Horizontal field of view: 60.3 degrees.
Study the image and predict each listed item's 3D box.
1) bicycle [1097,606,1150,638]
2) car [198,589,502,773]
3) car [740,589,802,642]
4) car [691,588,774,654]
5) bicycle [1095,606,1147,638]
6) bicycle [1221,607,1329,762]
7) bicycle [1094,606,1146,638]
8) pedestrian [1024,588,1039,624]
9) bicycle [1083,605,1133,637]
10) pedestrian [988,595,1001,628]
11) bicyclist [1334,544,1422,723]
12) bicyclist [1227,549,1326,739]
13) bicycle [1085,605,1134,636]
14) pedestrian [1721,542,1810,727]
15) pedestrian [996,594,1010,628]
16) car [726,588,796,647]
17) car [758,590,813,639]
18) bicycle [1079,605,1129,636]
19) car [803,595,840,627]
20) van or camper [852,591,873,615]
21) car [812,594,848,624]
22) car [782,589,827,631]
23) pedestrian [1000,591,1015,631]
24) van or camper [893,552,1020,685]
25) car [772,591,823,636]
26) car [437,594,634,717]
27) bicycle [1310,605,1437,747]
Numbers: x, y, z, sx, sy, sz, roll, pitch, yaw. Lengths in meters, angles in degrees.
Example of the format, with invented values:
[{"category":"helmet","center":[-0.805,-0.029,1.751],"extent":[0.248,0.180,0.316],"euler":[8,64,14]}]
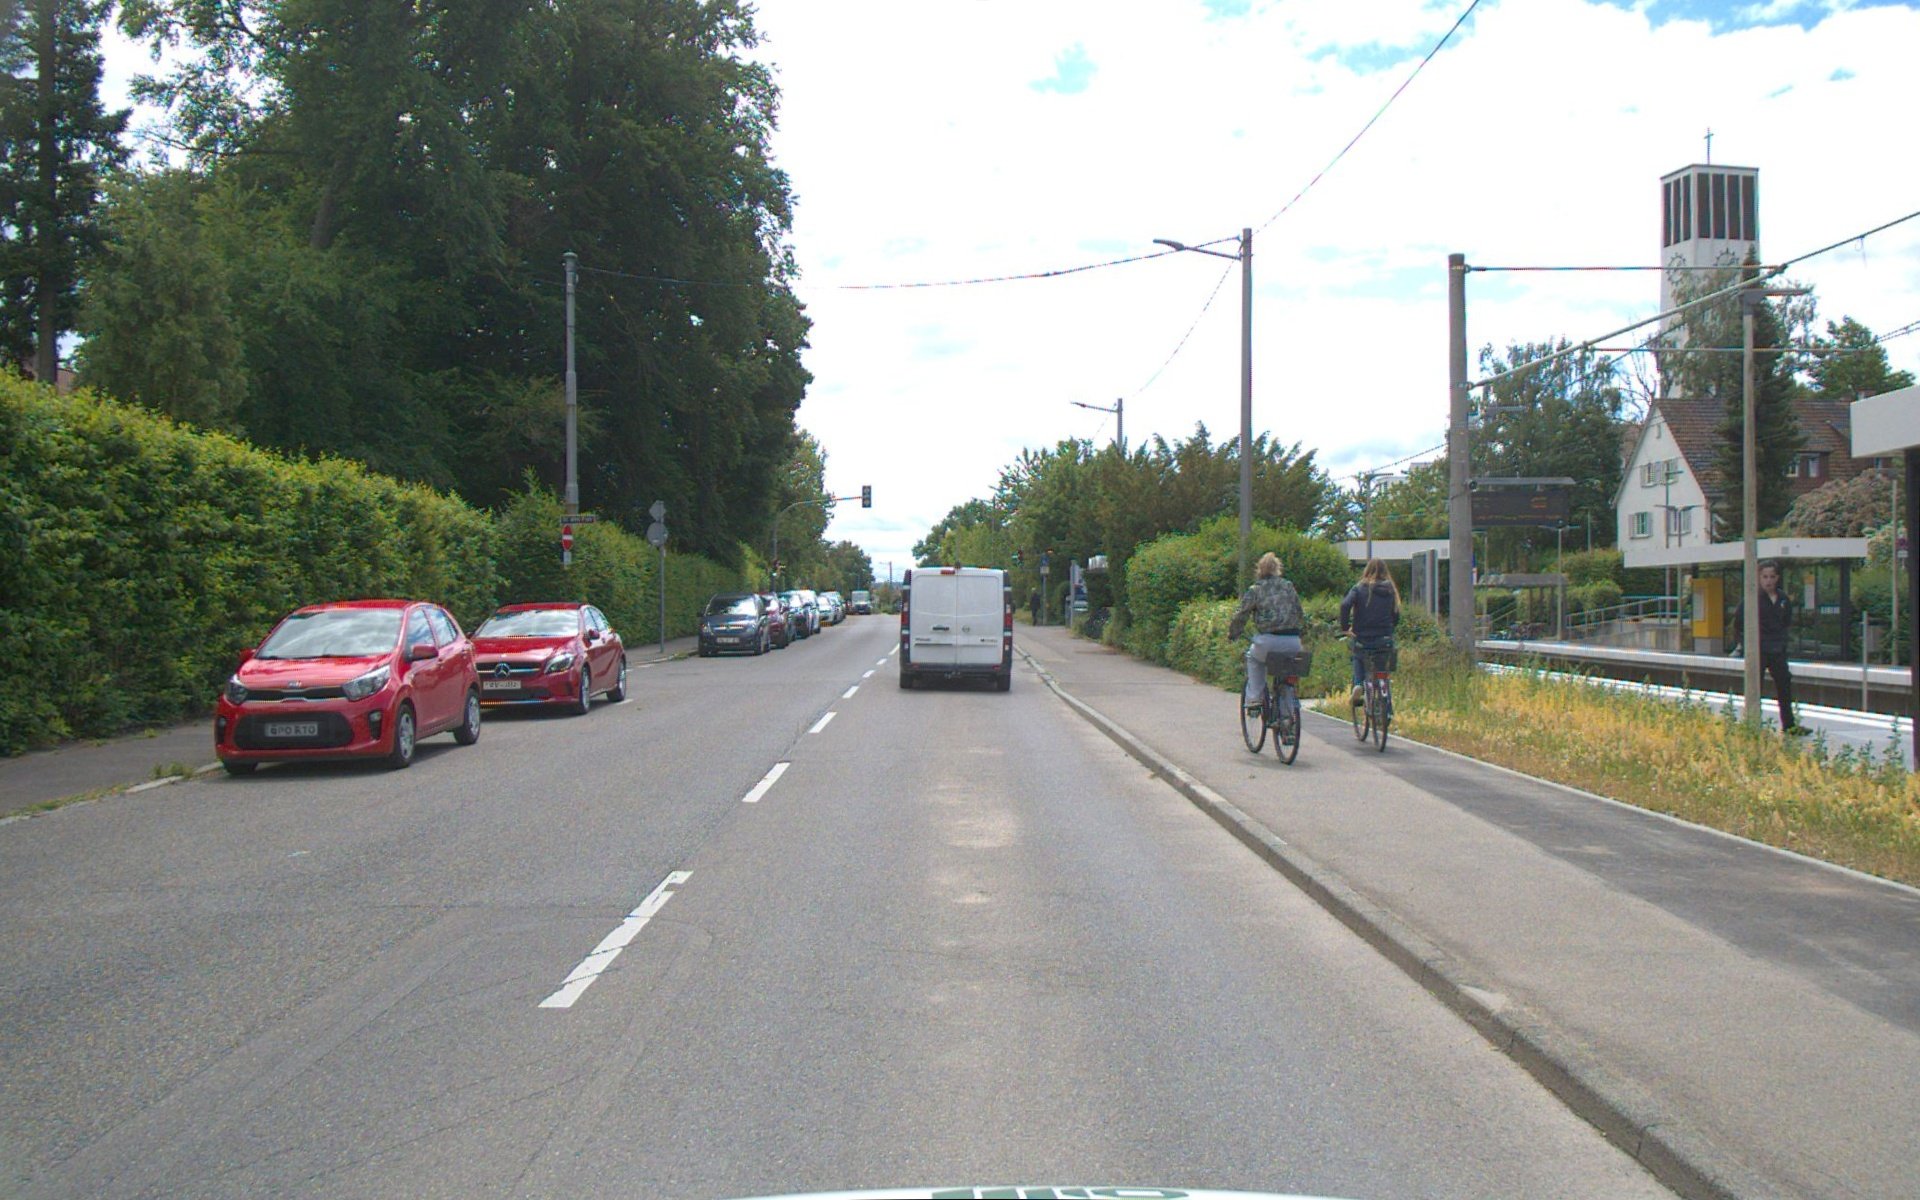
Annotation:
[{"category":"bicycle","center":[5.357,0.721,54.205],"extent":[1.664,1.048,0.491],"euler":[1,0,-2]},{"category":"car","center":[-5.681,0.690,15.841],"extent":[1.556,1.531,3.515],"euler":[-1,0,0]},{"category":"car","center":[-6.268,0.490,55.166],"extent":[1.726,1.685,3.813],"euler":[-1,0,-2]},{"category":"car","center":[-5.993,0.530,43.955],"extent":[1.726,1.654,4.184],"euler":[-1,0,-2]},{"category":"bicycle","center":[5.340,0.730,54.761],"extent":[1.664,1.048,0.491],"euler":[1,0,-2]},{"category":"bicycle","center":[2.788,0.706,14.821],"extent":[0.535,1.268,2.055],"euler":[0,0,-1]},{"category":"bicycle","center":[5.342,0.741,55.336],"extent":[1.664,1.048,0.491],"euler":[1,0,-2]},{"category":"pedestrian","center":[3.470,0.291,80.308],"extent":[0.660,1.726,0.522],"euler":[0,0,4]},{"category":"bicycle","center":[5.118,0.723,57.065],"extent":[1.664,1.048,0.491],"euler":[1,0,-2]},{"category":"pedestrian","center":[2.026,0.666,97.127],"extent":[0.688,1.883,0.666],"euler":[1,0,-1]},{"category":"bicyclist","center":[4.034,0.314,16.006],"extent":[0.626,1.678,0.819],"euler":[0,0,-1]},{"category":"bicyclist","center":[2.791,0.378,14.641],"extent":[0.703,1.640,0.757],"euler":[0,0,-1]},{"category":"bicycle","center":[5.212,0.724,57.655],"extent":[1.664,1.048,0.491],"euler":[1,0,-2]},{"category":"pedestrian","center":[7.818,0.328,16.077],"extent":[0.624,1.755,0.655],"euler":[1,0,12]},{"category":"pedestrian","center":[2.314,0.619,89.889],"extent":[0.638,1.838,0.564],"euler":[1,0,-12]},{"category":"car","center":[-5.977,0.508,49.994],"extent":[1.726,1.685,4.059],"euler":[-1,0,-2]},{"category":"car","center":[-6.364,0.507,60.663],"extent":[1.726,1.685,3.813],"euler":[-1,0,-2]},{"category":"bicycle","center":[4.908,0.702,56.519],"extent":[1.664,1.048,0.491],"euler":[1,0,-2]},{"category":"car","center":[-7.214,0.560,86.401],"extent":[1.726,1.584,3.813],"euler":[-1,0,-2]},{"category":"van or camper","center":[-9.600,0.321,162.243],"extent":[1.965,2.301,4.608],"euler":[-1,0,-5]},{"category":"car","center":[-7.485,0.490,95.462],"extent":[1.744,1.698,4.000],"euler":[1,0,0]},{"category":"car","center":[-6.837,0.414,72.840],"extent":[1.726,1.787,3.813],"euler":[-1,0,-2]},{"category":"pedestrian","center":[2.236,0.510,77.580],"extent":[0.666,1.873,0.646],"euler":[1,0,5]},{"category":"van or camper","center":[-0.065,0.312,28.270],"extent":[1.953,2.049,4.445],"euler":[1,-1,0]},{"category":"car","center":[-6.442,0.521,65.878],"extent":[1.726,1.685,3.813],"euler":[-1,0,-2]},{"category":"car","center":[-5.688,0.683,22.664],"extent":[1.726,1.497,4.184],"euler":[-1,0,-2]},{"category":"bicycle","center":[4.018,0.699,16.243],"extent":[0.606,1.268,2.395],"euler":[0,0,-1]}]
